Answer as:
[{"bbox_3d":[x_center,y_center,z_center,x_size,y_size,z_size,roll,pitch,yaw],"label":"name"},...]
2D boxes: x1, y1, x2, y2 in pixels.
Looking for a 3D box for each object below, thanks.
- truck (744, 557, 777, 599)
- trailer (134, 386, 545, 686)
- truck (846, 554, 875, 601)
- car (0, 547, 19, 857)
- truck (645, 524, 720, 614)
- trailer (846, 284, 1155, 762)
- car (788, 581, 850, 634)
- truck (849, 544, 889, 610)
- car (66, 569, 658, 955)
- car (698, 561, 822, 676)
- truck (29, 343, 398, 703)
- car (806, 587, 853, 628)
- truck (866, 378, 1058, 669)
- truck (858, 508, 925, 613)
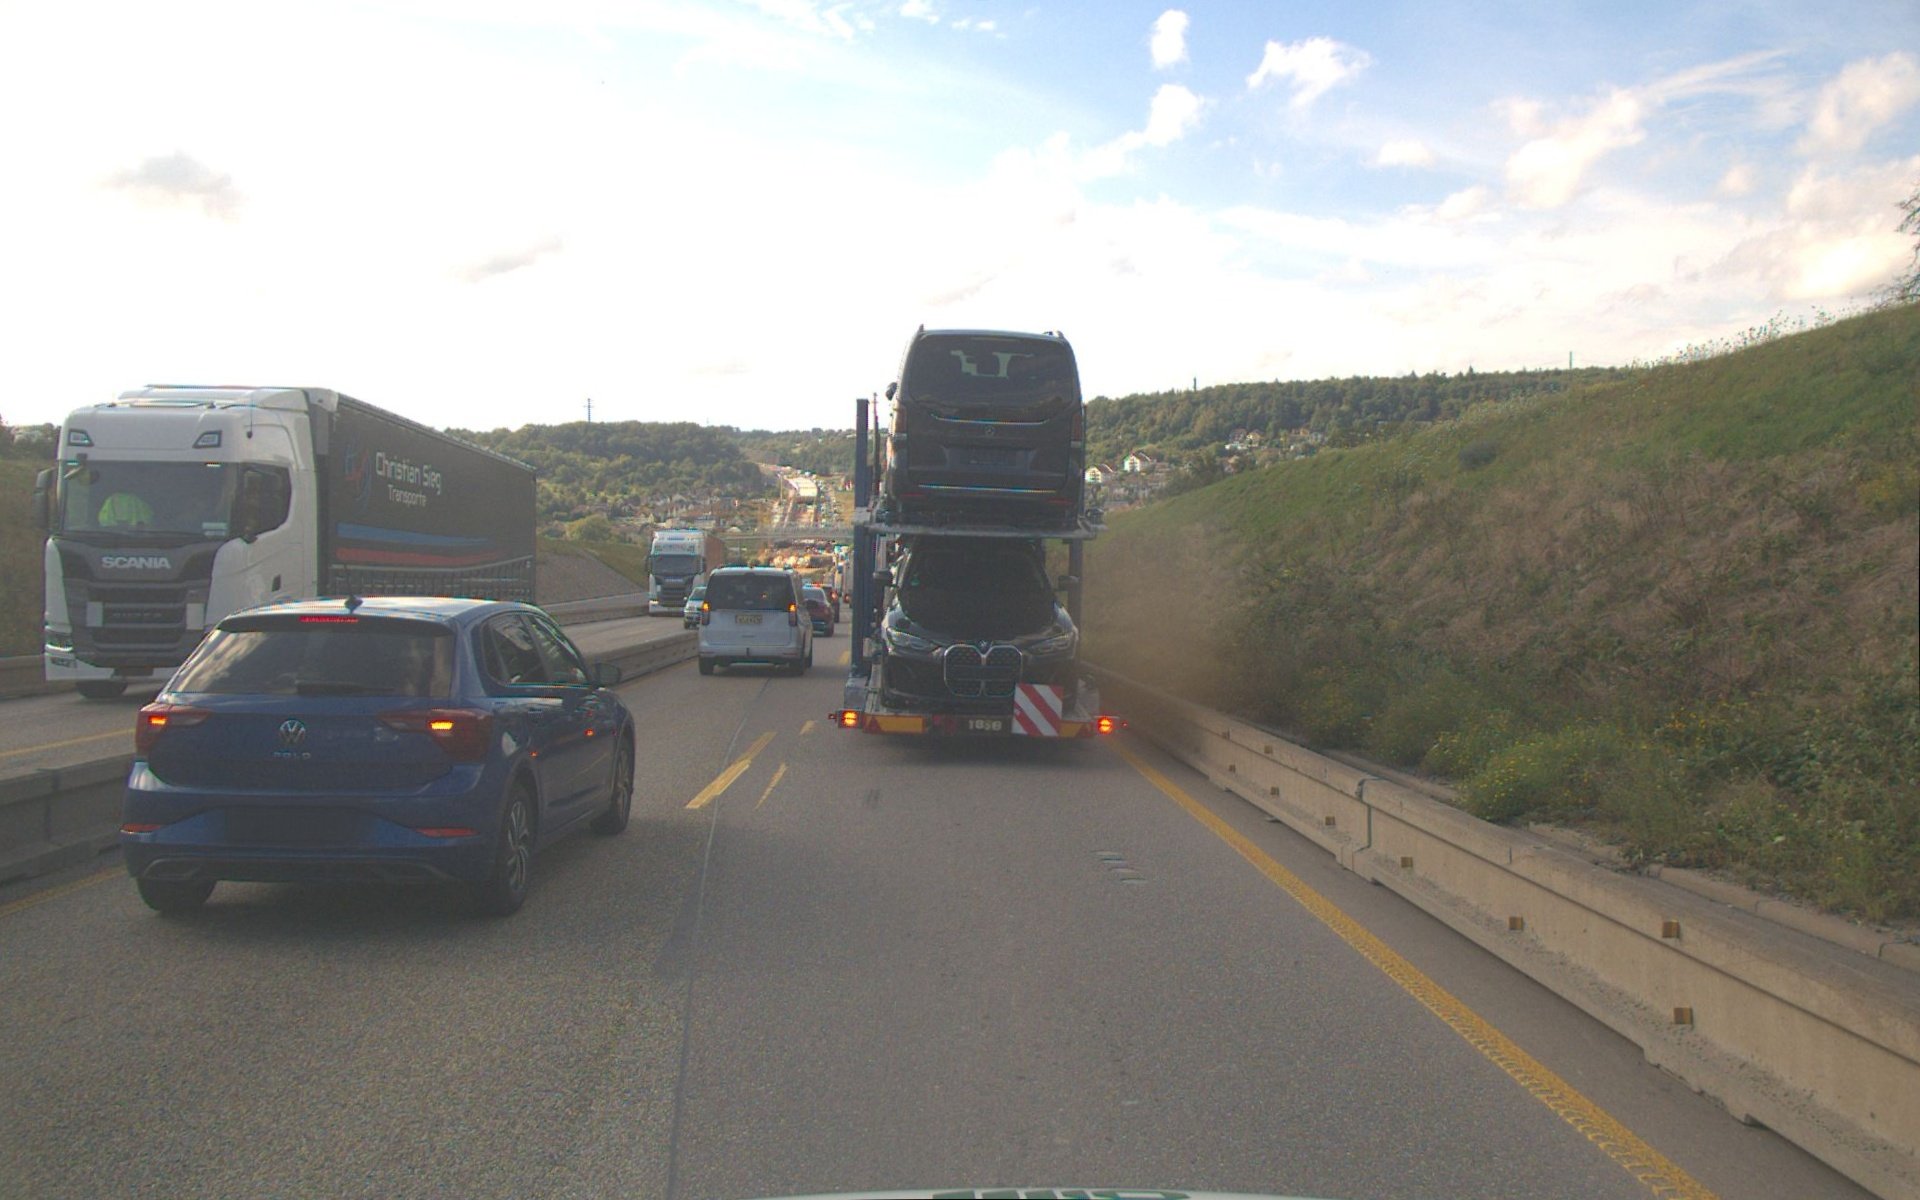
[{"bbox_3d":[-20.477,-2.276,170.189,2.586,4.171,10.812,0,0,-3],"label":"truck"},{"bbox_3d":[-10.098,-0.927,29.228,2.562,4.023,13.868,0,0,-2],"label":"trailer"},{"bbox_3d":[-10.362,-2.330,171.419,2.807,4.650,11.648,0,0,-4],"label":"truck"},{"bbox_3d":[-6.332,0.586,6.786,1.909,1.777,5.576,1,0,-2],"label":"car"},{"bbox_3d":[-13.664,-1.473,82.306,2.586,4.171,10.810,0,0,-4],"label":"truck"},{"bbox_3d":[0.165,-0.709,19.980,2.653,4.099,11.415,0,0,-2],"label":"trailer"},{"bbox_3d":[-4.346,0.195,51.298,1.787,1.518,4.681,2,1,-4],"label":"car"},{"bbox_3d":[-6.872,-1.696,123.778,2.807,4.650,11.648,0,0,-4],"label":"truck"},{"bbox_3d":[-2.783,0.644,8.693,1.680,1.534,3.999,1,0,-1],"label":"car"},{"bbox_3d":[-3.503,0.272,29.677,1.786,1.855,4.455,2,1,-2],"label":"car"},{"bbox_3d":[-9.789,-0.931,22.430,2.562,4.226,5.778,0,0,-3],"label":"truck"},{"bbox_3d":[-5.662,0.301,72.080,1.954,1.653,4.747,1,0,-4],"label":"car"},{"bbox_3d":[-0.063,-1.080,25.858,2.624,3.990,6.025,0,0,-2],"label":"truck"},{"bbox_3d":[-3.411,-1.804,79.510,2.807,4.650,11.648,0,0,-4],"label":"truck"}]
